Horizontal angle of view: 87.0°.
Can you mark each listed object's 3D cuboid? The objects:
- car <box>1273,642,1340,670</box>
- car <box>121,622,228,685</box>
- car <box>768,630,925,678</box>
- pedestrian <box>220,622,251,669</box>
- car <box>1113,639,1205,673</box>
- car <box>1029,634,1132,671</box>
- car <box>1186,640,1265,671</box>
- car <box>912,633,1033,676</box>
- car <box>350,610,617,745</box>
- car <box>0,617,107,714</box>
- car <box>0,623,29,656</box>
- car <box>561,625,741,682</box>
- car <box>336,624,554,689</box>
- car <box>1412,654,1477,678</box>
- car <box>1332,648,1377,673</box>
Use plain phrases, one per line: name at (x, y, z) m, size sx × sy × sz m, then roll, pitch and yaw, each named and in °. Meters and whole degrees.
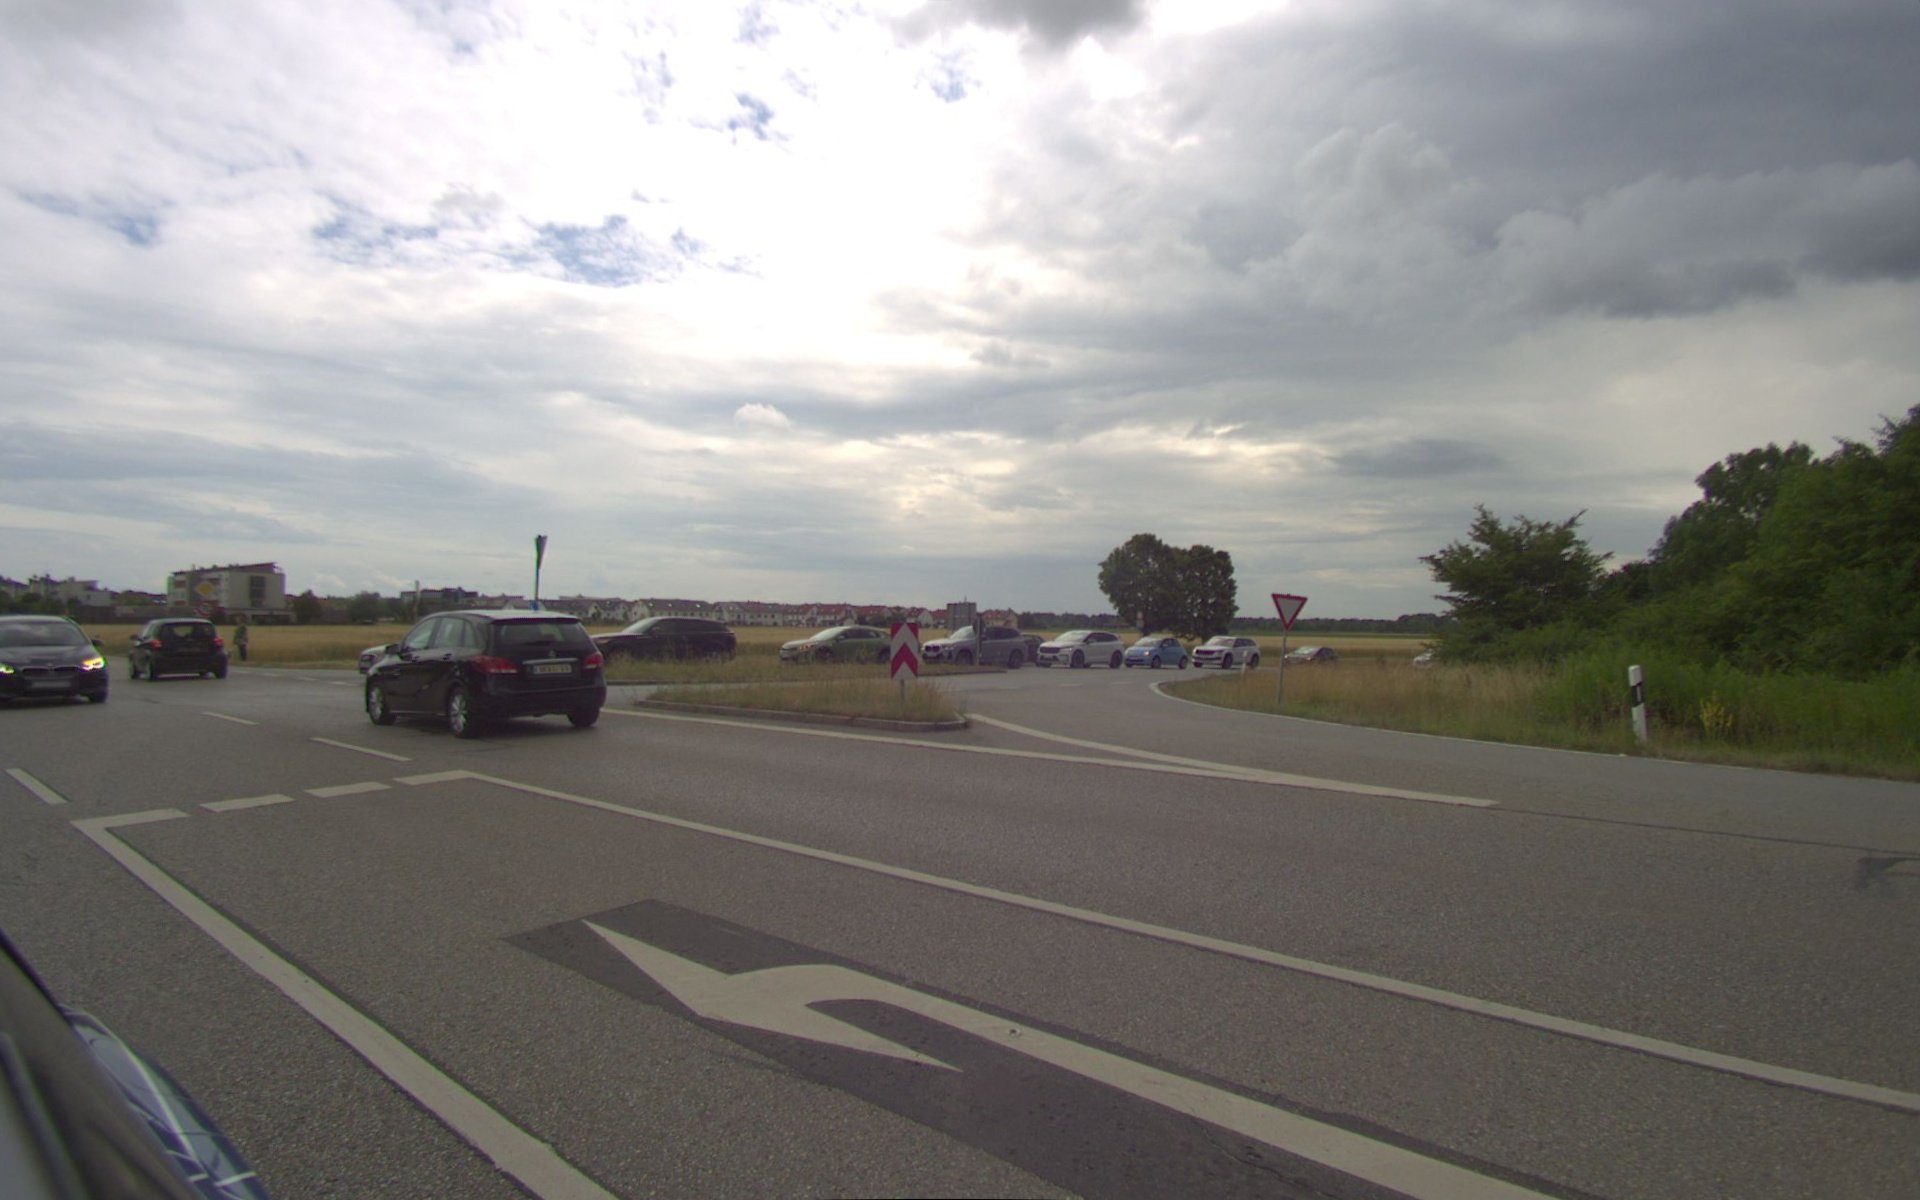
car at (19.956, 3.195, 58.192) m, size 1.912 × 1.493 × 4.440 m, roll -2°, pitch -3°, yaw 45°
car at (-20.443, 1.343, 26.309) m, size 3.167 × 1.495 × 1.644 m, roll -1°, pitch -1°, yaw 41°
car at (-3.801, 1.793, 34.573) m, size 5.221 × 1.533 × 1.913 m, roll 2°, pitch -2°, yaw -42°
pedestrian at (-25.164, 1.573, 35.157) m, size 0.865 × 1.617 × 0.587 m, roll -1°, pitch -5°, yaw 39°
car at (9.268, 2.570, 46.929) m, size 4.436 × 1.493 × 1.913 m, roll 2°, pitch -2°, yaw -42°
car at (5.131, 2.183, 42.753) m, size 4.436 × 1.493 × 1.913 m, roll 2°, pitch -2°, yaw -42°
car at (13.457, 2.769, 51.207) m, size 1.912 × 1.493 × 4.440 m, roll -2°, pitch -3°, yaw 45°
car at (0.517, 2.028, 38.645) m, size 4.567 × 1.528 × 1.913 m, roll 2°, pitch -2°, yaw -42°
car at (-6.500, 0.932, 13.600) m, size 4.196 × 1.542 × 1.724 m, roll -2°, pitch -1°, yaw 41°
car at (-17.592, 1.161, 19.042) m, size 4.480 × 1.623 × 1.685 m, roll -1°, pitch -1°, yaw 41°
car at (-46.483, 1.912, 49.014) m, size 4.394 × 1.533 × 1.661 m, roll -1°, pitch -1°, yaw 42°
car at (-8.943, 1.518, 29.547) m, size 4.682 × 1.543 × 1.913 m, roll 2°, pitch -3°, yaw -42°
car at (-12.528, 1.327, 24.890) m, size 1.906 × 1.435 × 4.414 m, roll -1°, pitch -2°, yaw 33°
car at (32.742, 4.443, 68.407) m, size 4.429 × 1.493 × 1.916 m, roll 1°, pitch -2°, yaw -33°
car at (29.504, 4.501, 75.624) m, size 1.909 × 1.694 × 4.447 m, roll -1°, pitch -2°, yaw 39°
